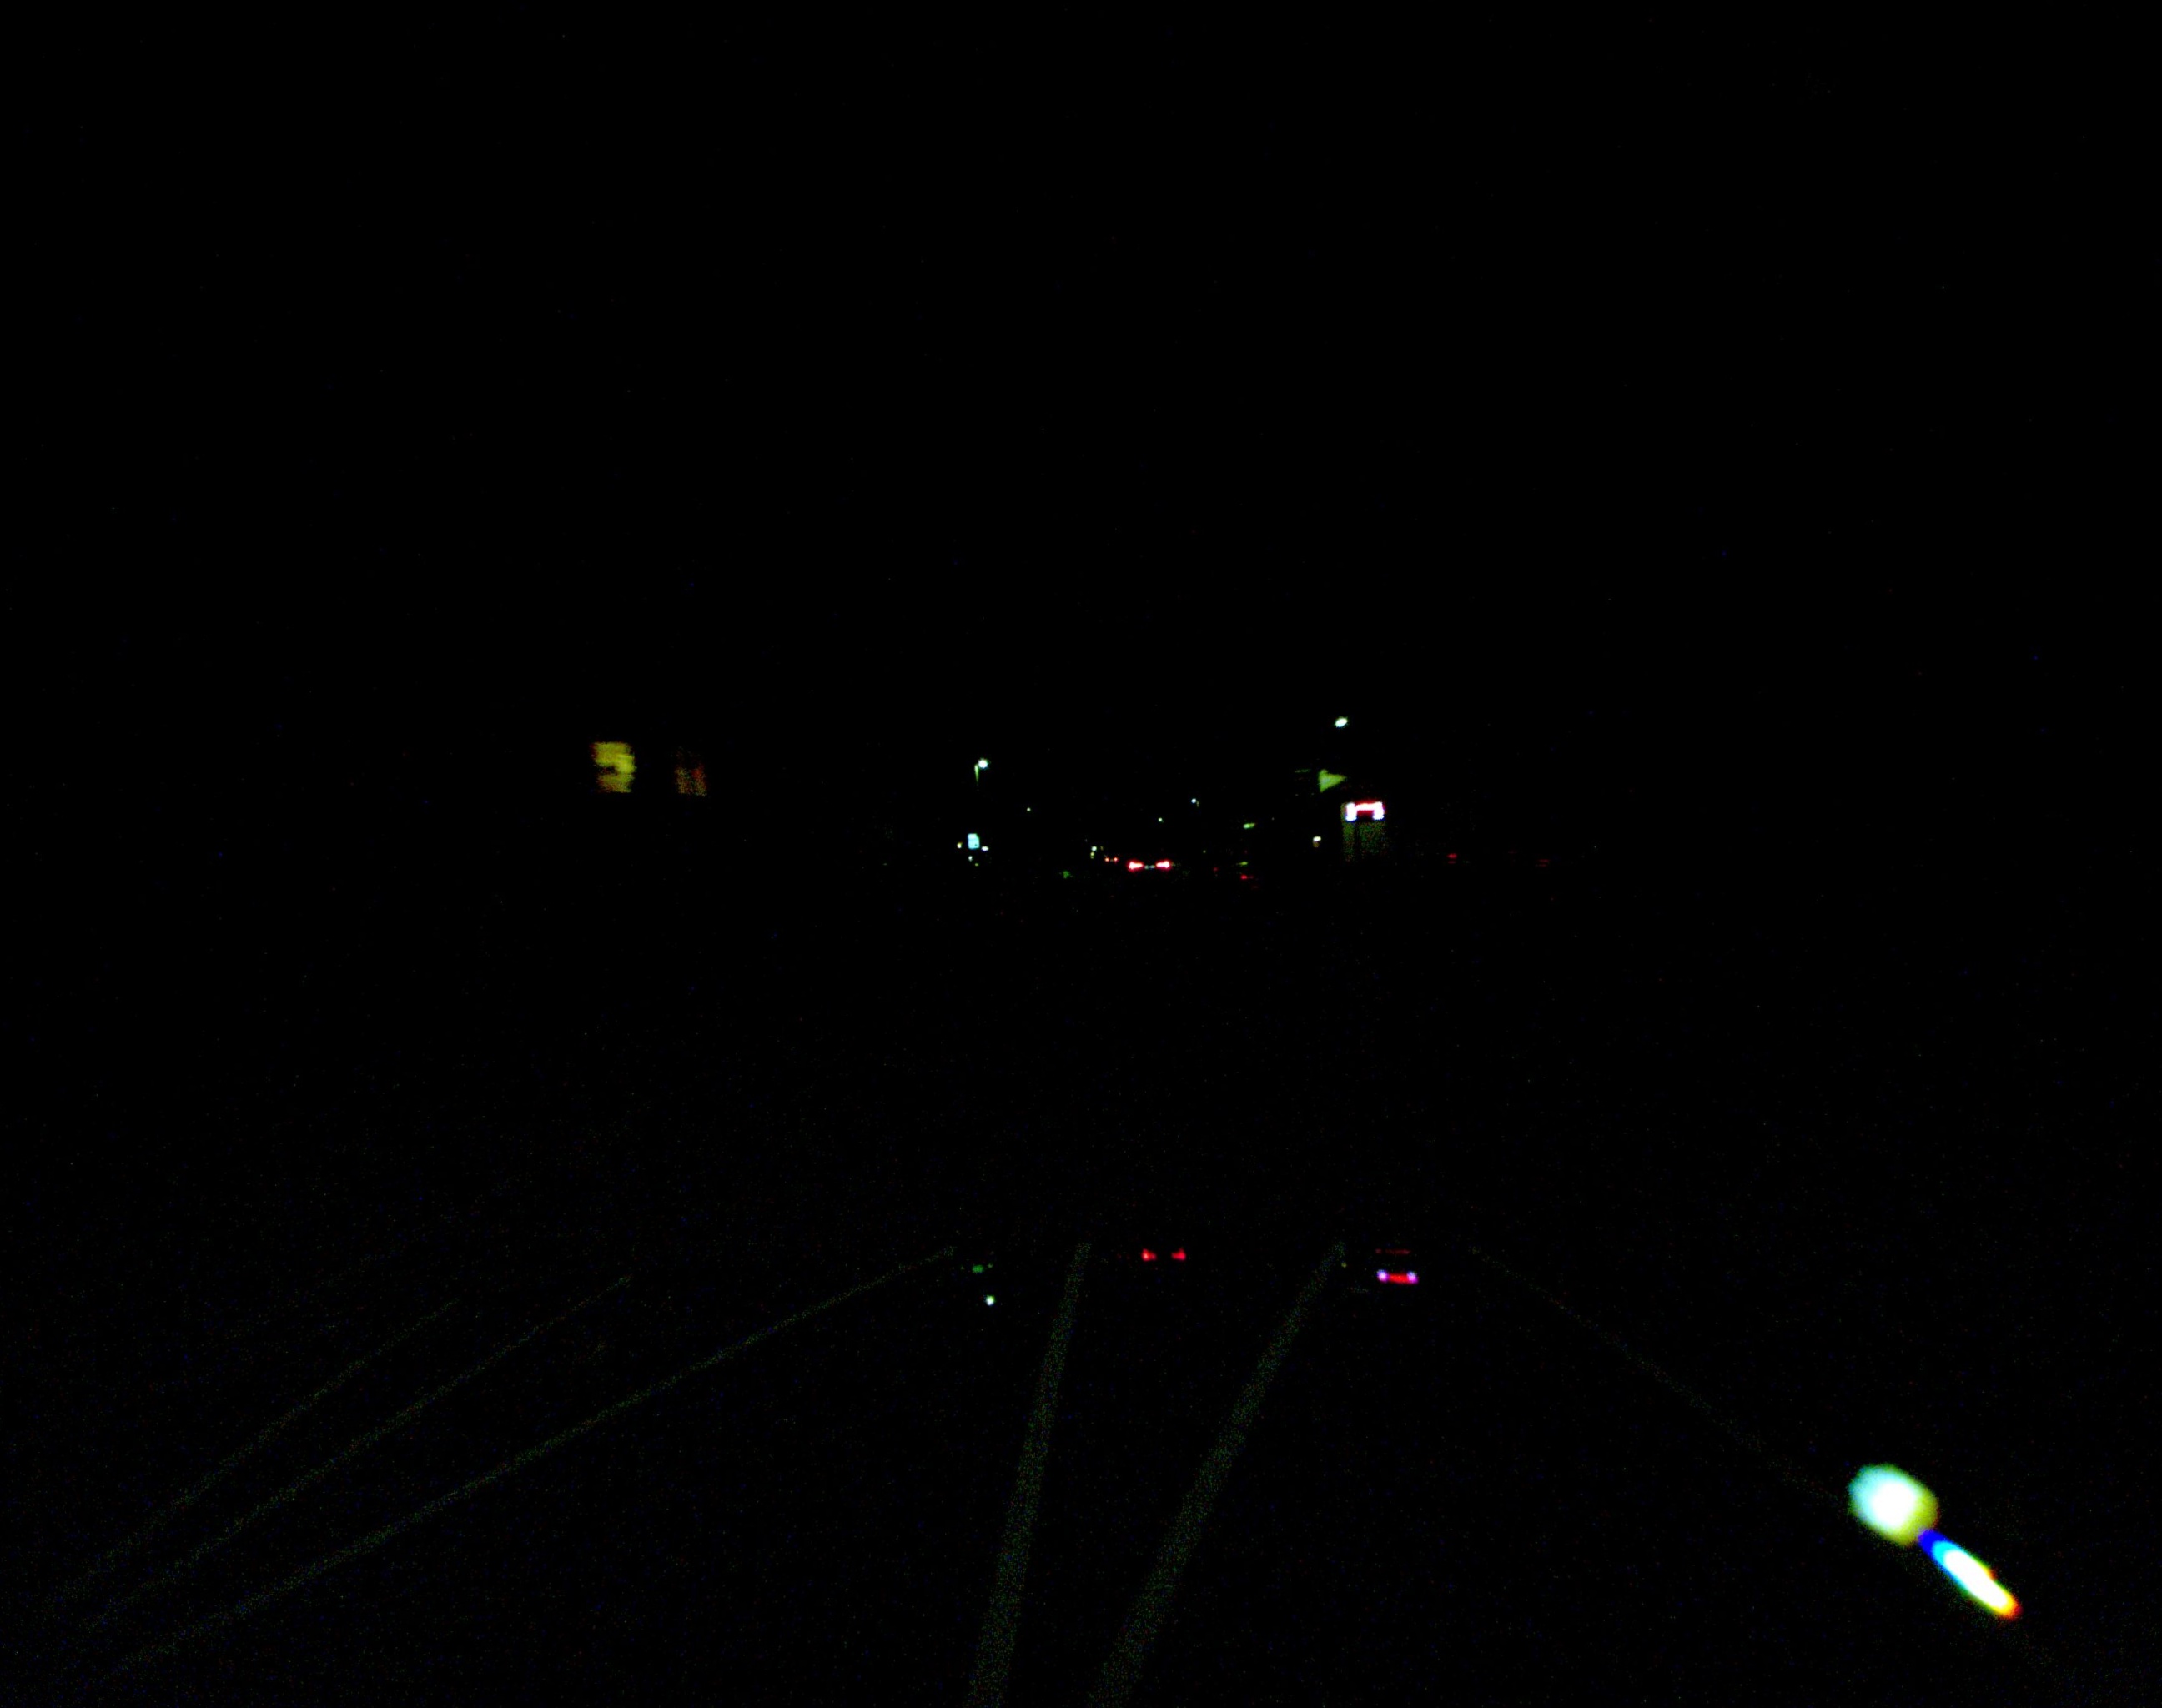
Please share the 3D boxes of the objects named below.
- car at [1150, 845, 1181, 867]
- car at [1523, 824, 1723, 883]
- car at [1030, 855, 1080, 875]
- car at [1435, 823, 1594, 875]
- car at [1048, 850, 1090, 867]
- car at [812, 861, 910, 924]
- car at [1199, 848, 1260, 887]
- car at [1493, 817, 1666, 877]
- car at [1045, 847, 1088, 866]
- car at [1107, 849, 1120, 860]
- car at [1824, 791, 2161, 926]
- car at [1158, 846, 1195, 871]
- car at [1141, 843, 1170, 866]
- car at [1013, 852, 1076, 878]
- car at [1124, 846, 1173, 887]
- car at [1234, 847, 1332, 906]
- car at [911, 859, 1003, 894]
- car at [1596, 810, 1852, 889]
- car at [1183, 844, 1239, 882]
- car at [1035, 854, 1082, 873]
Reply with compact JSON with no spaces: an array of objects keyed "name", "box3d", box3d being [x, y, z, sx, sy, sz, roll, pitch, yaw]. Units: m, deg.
[{"name":"car","box3d":[7.086,0.190,64.092,2.121,1.660,4.169,-4,0,0]},{"name":"car","box3d":[14.713,-0.009,20.824,3.996,1.455,2.000,-1,1,3]},{"name":"car","box3d":[-2.115,0.879,62.296,3.926,1.505,1.854,-2,1,1]},{"name":"car","box3d":[14.862,-0.172,26.184,4.325,1.552,2.028,-3,0,-6]},{"name":"car","box3d":[-1.498,0.561,95.413,5.156,1.834,2.260,-2,0,1]},{"name":"car","box3d":[-6.164,1.033,21.731,1.643,1.551,3.678,-2,0,1]},{"name":"car","box3d":[6.288,0.546,32.523,1.775,1.460,3.966,-4,0,0]},{"name":"car","box3d":[15.354,-0.204,23.607,3.995,1.608,2.001,-3,0,5]},{"name":"car","box3d":[-1.737,0.309,92.549,5.156,2.084,2.260,-2,0,1]},{"name":"car","box3d":[5.332,0.135,124.263,1.724,1.705,3.960,-4,0,-1]},{"name":"car","box3d":[13.268,0.043,10.661,3.999,1.693,1.947,0,0,-6]},{"name":"car","box3d":[7.297,0.303,58.588,2.121,1.539,4.475,-6,1,-1]},{"name":"car","box3d":[6.874,0.048,70.816,2.121,1.935,4.887,-4,0,0]},{"name":"car","box3d":[-2.703,0.791,57.041,4.363,1.805,2.032,-2,0,7]},{"name":"car","box3d":[3.152,0.543,36.254,2.008,1.738,4.558,-3,0,2]},{"name":"car","box3d":[5.743,0.596,22.116,1.753,1.460,4.009,-3,0,0]},{"name":"car","box3d":[-5.703,1.021,35.283,3.914,1.477,1.832,-1,1,1]},{"name":"car","box3d":[14.552,-0.102,17.411,4.125,1.652,2.000,-1,1,3]},{"name":"car","box3d":[6.388,0.413,37.786,1.933,1.627,4.470,-4,0,0]},{"name":"car","box3d":[-2.008,0.871,68.231,3.924,1.542,1.988,-2,0,6]}]
